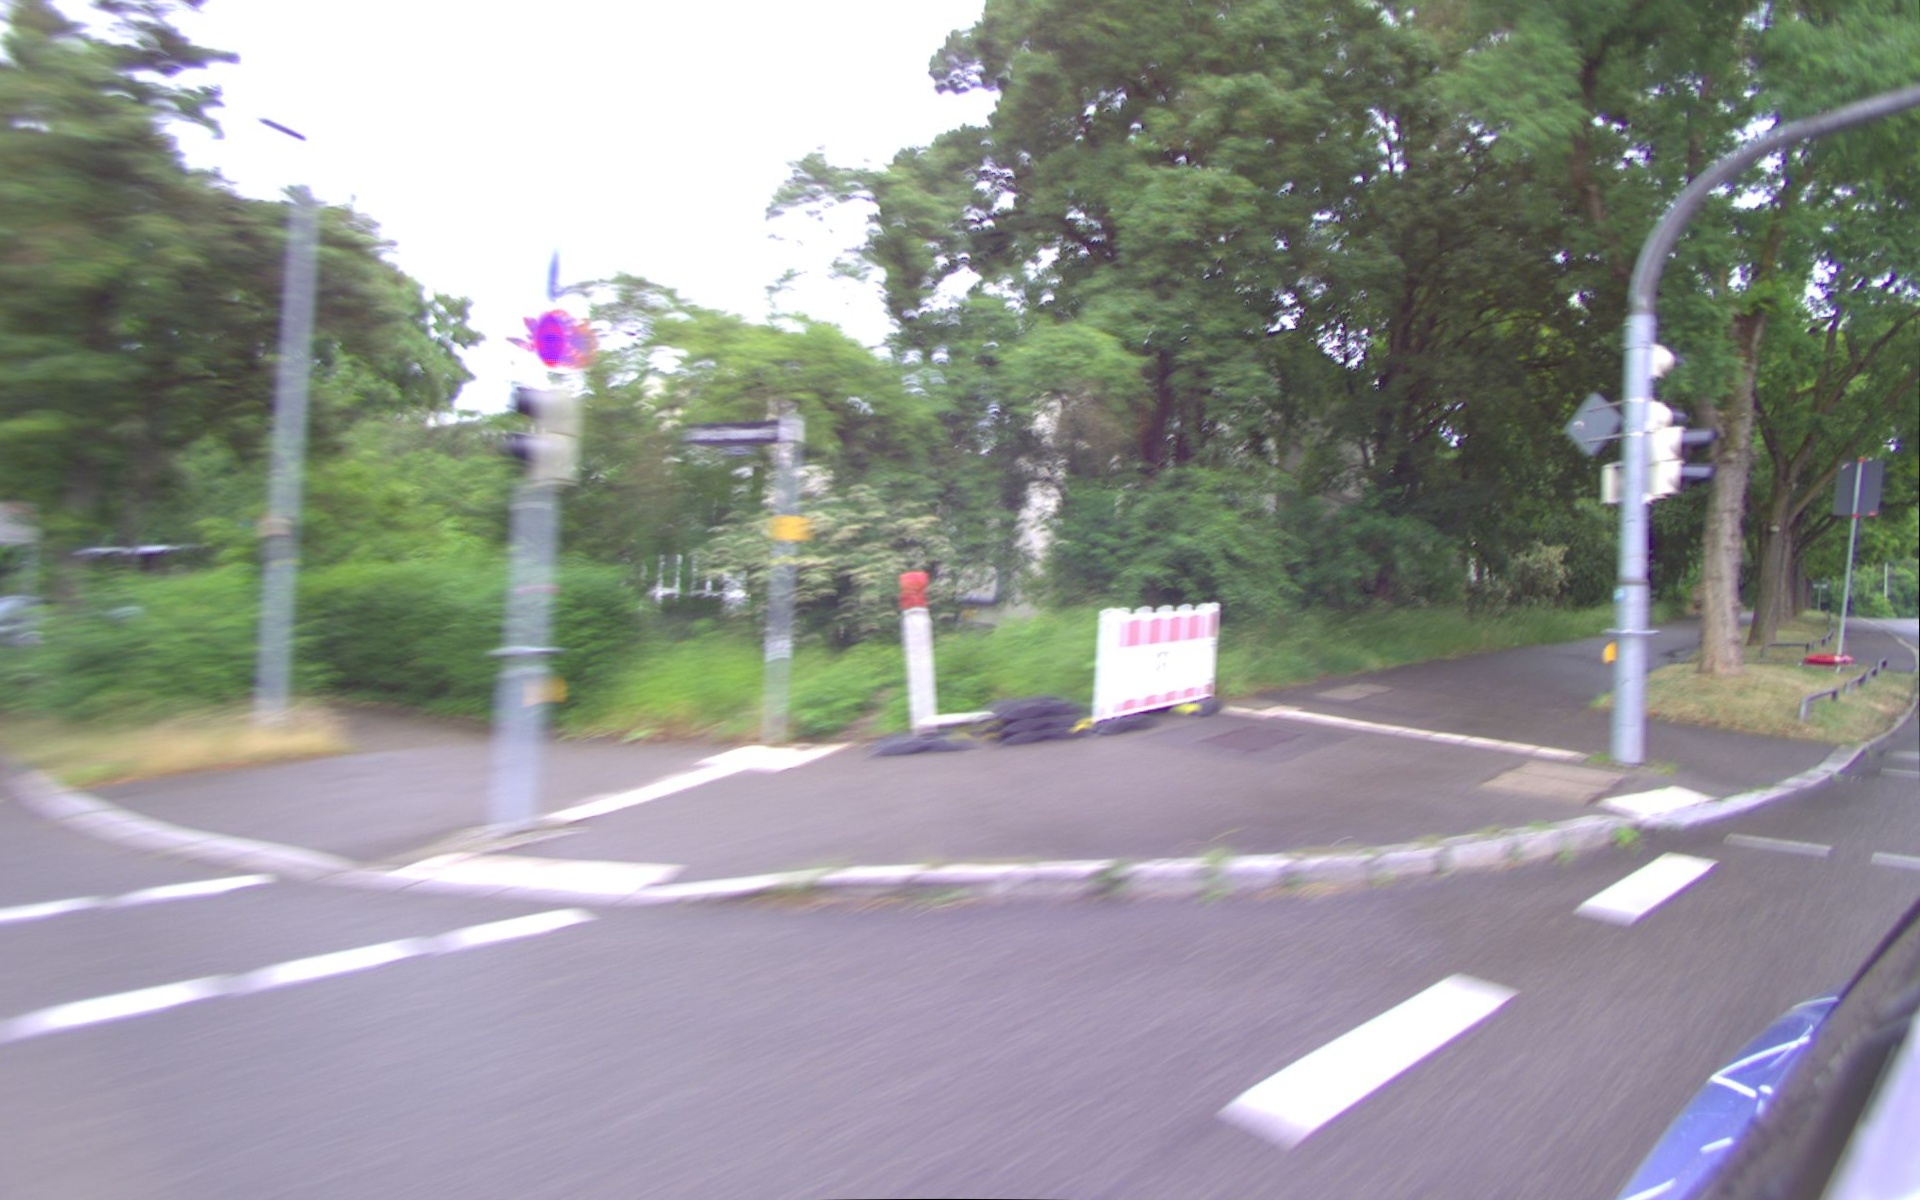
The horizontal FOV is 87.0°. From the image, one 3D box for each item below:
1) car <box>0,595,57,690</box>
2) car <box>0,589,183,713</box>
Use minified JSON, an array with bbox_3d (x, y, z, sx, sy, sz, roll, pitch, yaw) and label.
[{"bbox_3d":[-17.189,0.681,17.582,3.982,1.517,1.731,0,1,40],"label":"car"},{"bbox_3d":[-13.110,0.661,14.573,3.969,1.554,1.809,-1,0,32],"label":"car"}]
